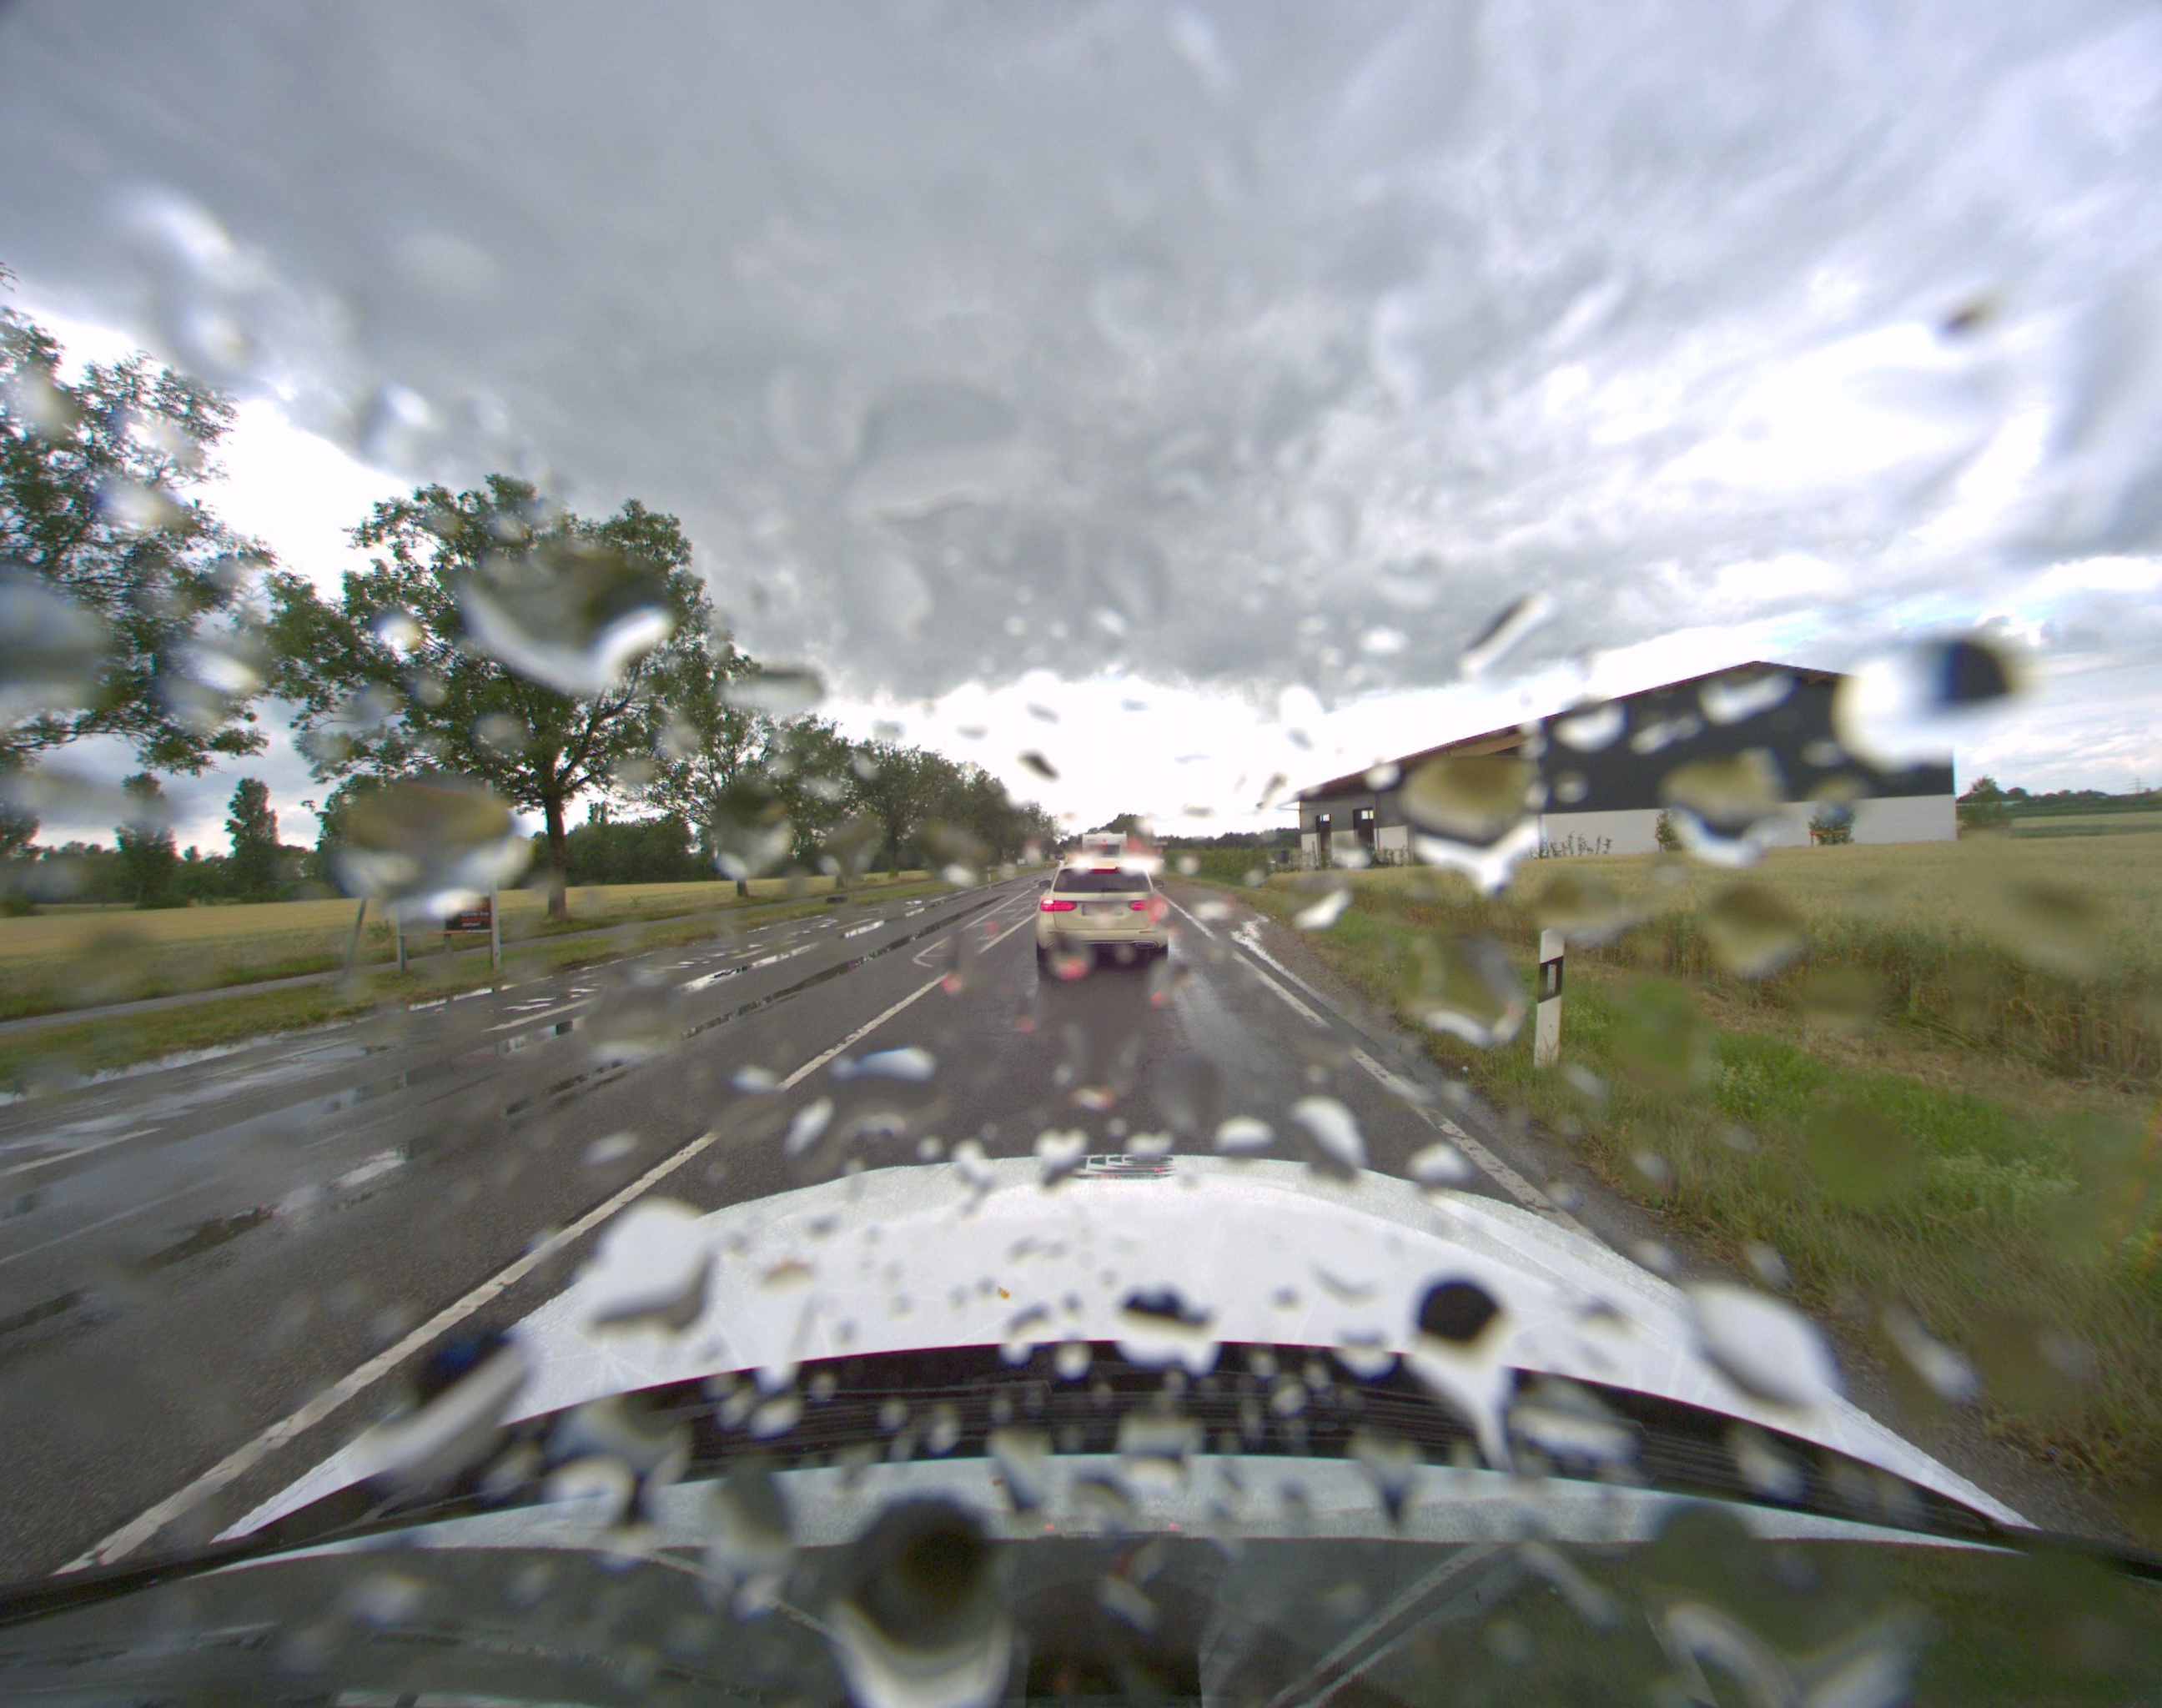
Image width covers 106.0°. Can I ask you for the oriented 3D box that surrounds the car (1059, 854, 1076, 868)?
[{"bbox_3d":[-1.693,0.940,104.647,1.909,1.632,4.358,-4,0,1],"label":"car"}]

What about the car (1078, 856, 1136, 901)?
[{"bbox_3d":[0.898,0.812,28.940,1.888,1.429,3.928,-1,0,1],"label":"car"}]

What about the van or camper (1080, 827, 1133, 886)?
[{"bbox_3d":[1.414,0.136,43.805,2.487,2.831,5.937,-3,0,2],"label":"van or camper"}]

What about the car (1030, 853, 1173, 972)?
[{"bbox_3d":[0.336,0.744,12.394,1.790,1.464,4.033,-1,0,2],"label":"car"}]
